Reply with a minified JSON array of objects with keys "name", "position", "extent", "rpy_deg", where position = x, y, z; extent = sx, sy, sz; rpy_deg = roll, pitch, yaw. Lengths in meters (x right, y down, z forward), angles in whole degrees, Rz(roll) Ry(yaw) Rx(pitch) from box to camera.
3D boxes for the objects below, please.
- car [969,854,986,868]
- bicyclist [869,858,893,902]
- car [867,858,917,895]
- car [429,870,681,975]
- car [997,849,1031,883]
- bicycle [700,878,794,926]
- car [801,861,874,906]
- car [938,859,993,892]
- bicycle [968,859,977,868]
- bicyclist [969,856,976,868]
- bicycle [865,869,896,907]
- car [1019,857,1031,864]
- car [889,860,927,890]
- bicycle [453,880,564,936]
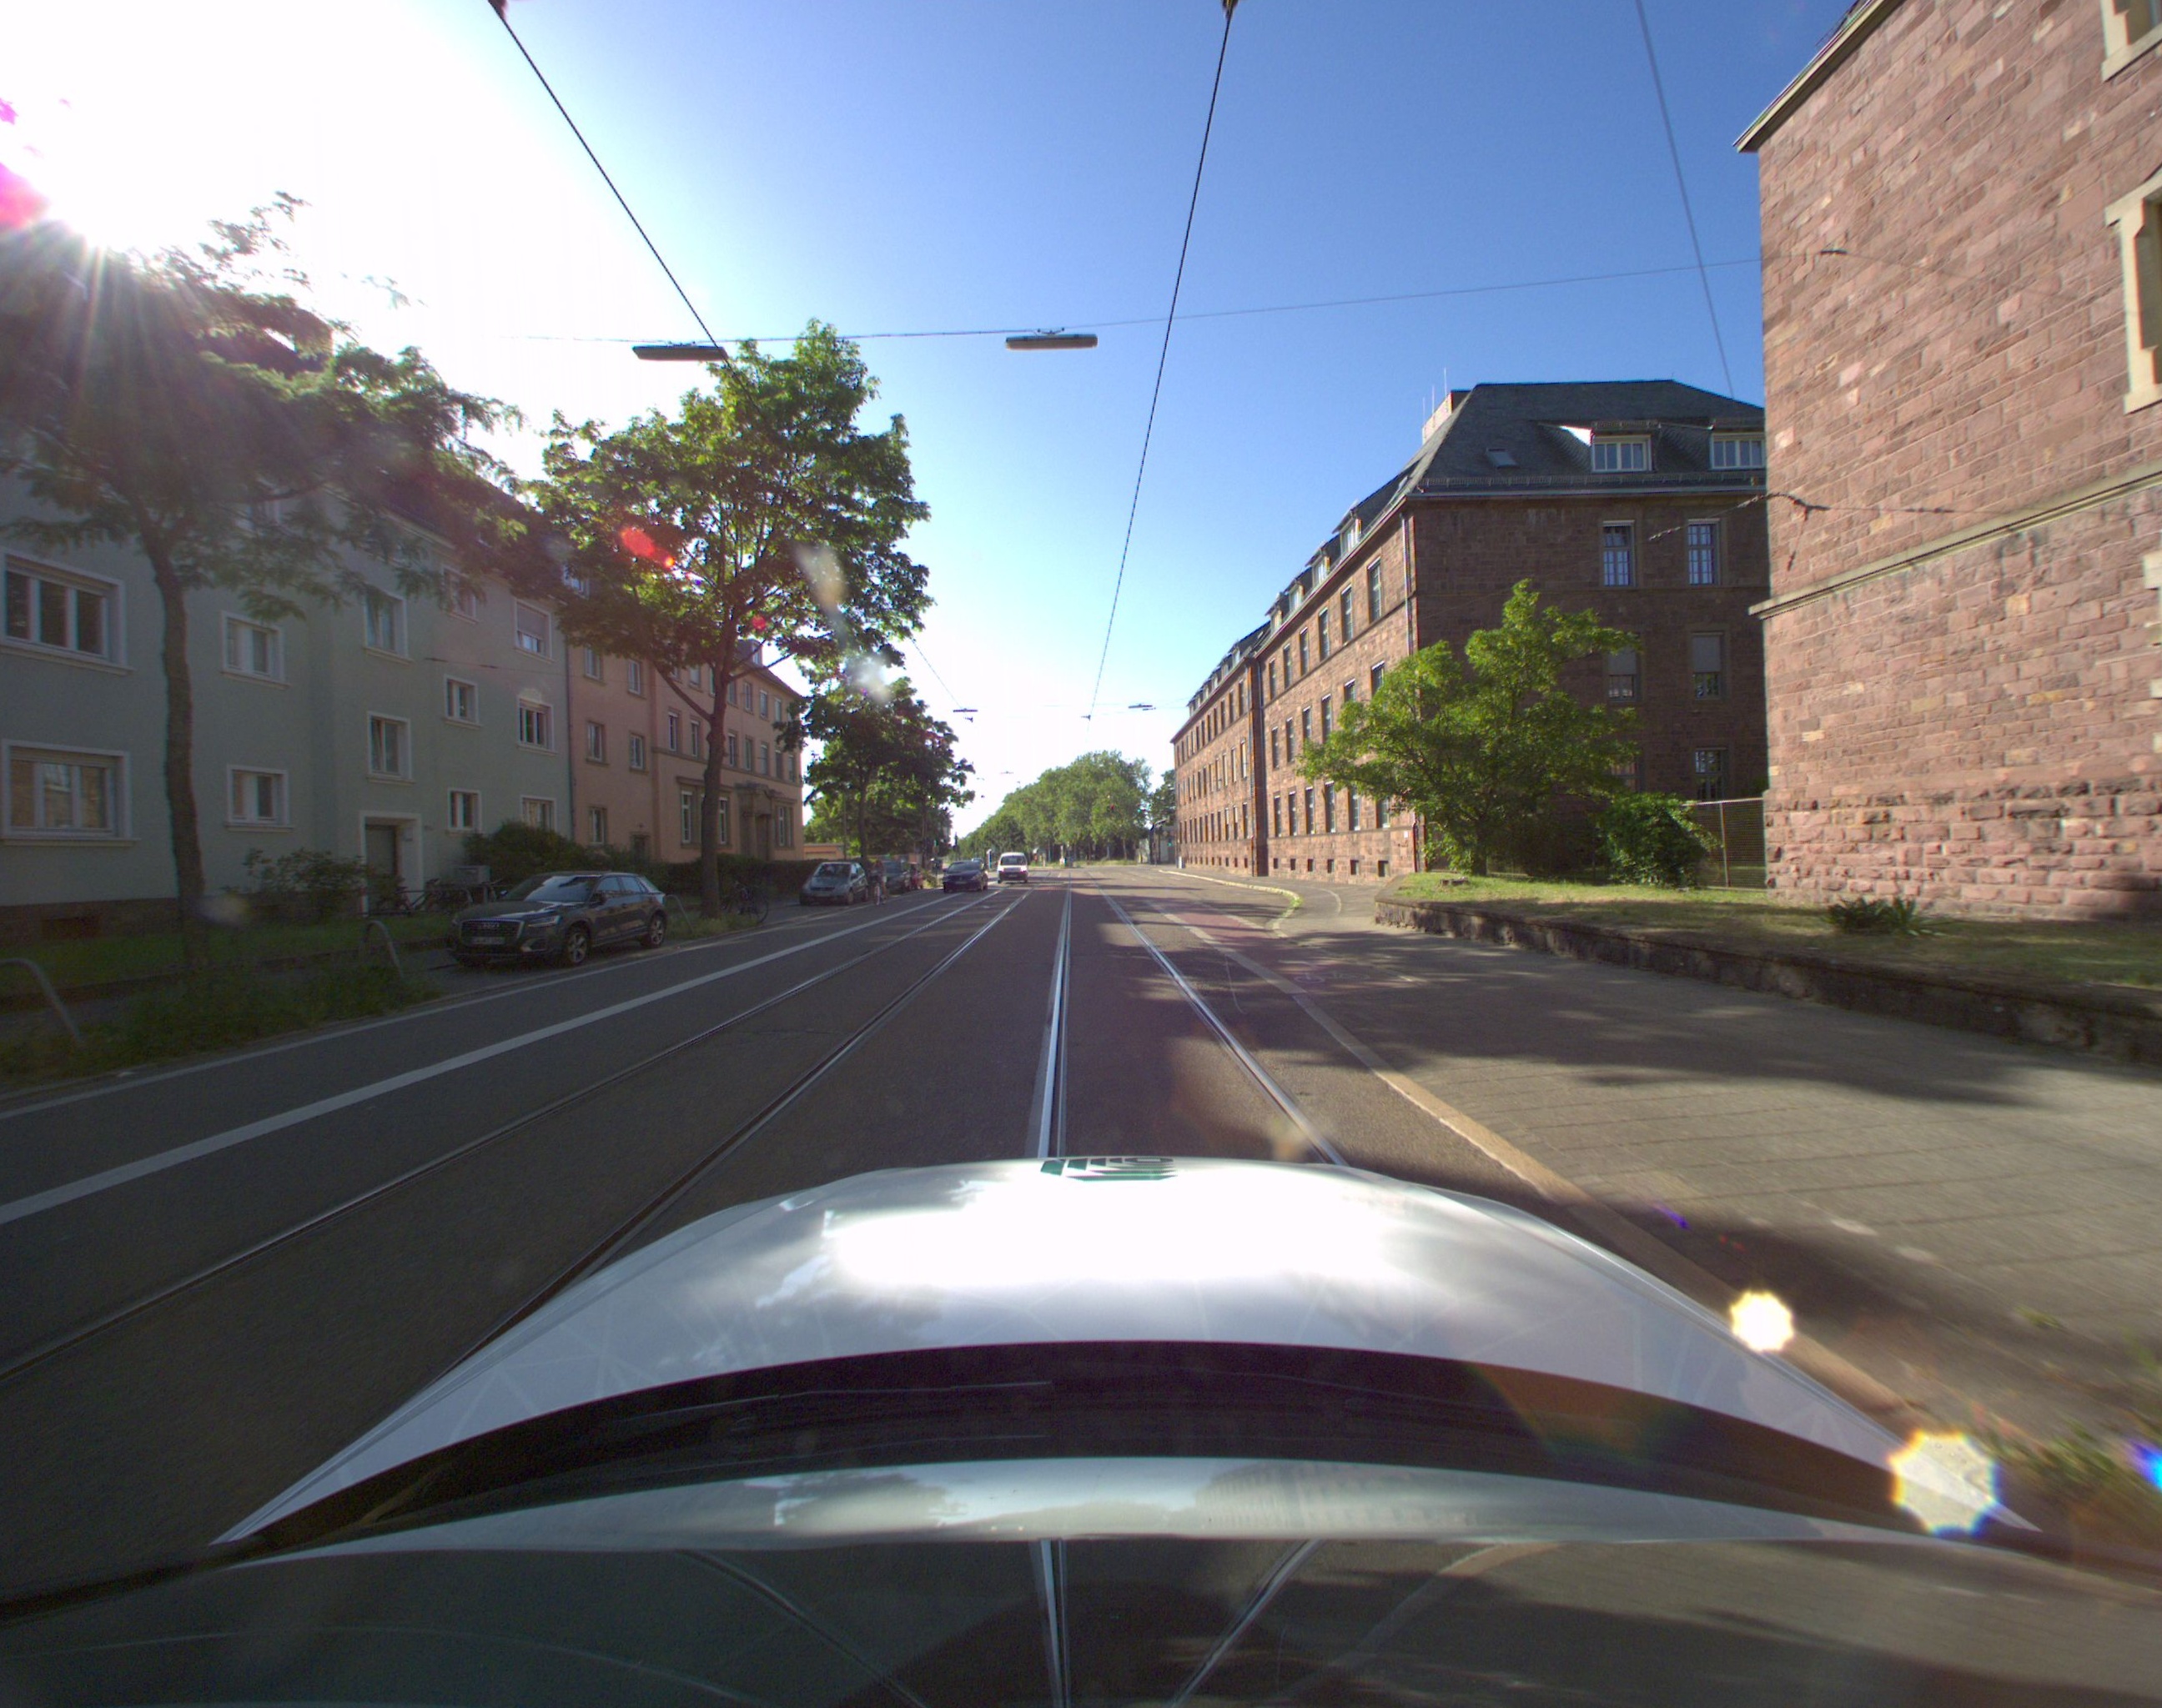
[{"name":"car","position":[-14.626,0.996,114.982],"extent":[1.997,1.760,3.981],"rpy_deg":[-2,0,-14]},{"name":"bicyclist","position":[-7.055,0.907,28.754],"extent":[0.557,1.456,0.868],"rpy_deg":[-5,0,-4]},{"name":"car","position":[-9.153,1.053,39.766],"extent":[1.743,1.660,4.383],"rpy_deg":[0,0,-5]},{"name":"car","position":[-9.002,1.081,14.455],"extent":[1.741,1.490,4.320],"rpy_deg":[0,0,-2]},{"name":"car","position":[-3.993,0.709,48.939],"extent":[1.805,1.888,4.436],"rpy_deg":[-2,0,-2]},{"name":"bicycle","position":[-8.751,1.240,21.335],"extent":[2.273,1.198,0.560],"rpy_deg":[0,1,5]},{"name":"car","position":[-9.210,1.078,31.071],"extent":[1.742,1.569,4.064],"rpy_deg":[0,0,-3]},{"name":"car","position":[-5.296,0.956,37.886],"extent":[1.803,1.387,4.440],"rpy_deg":[-2,0,1]},{"name":"bicycle","position":[-13.972,1.206,104.886],"extent":[0.751,1.087,2.165],"rpy_deg":[-2,0,-16]},{"name":"bicyclist","position":[-13.975,1.021,104.879],"extent":[0.751,1.504,0.959],"rpy_deg":[-2,0,-16]},{"name":"bicycle","position":[-7.025,1.177,28.679],"extent":[0.556,1.198,2.289],"rpy_deg":[-5,0,-4]},{"name":"car","position":[-13.712,1.544,199.151],"extent":[1.950,1.610,3.971],"rpy_deg":[-2,0,-21]},{"name":"car","position":[-9.377,1.121,44.359],"extent":[1.579,1.488,3.606],"rpy_deg":[0,0,-5]},{"name":"bicycle","position":[-13.217,1.236,18.812],"extent":[2.273,1.198,0.560],"rpy_deg":[0,1,5]}]
